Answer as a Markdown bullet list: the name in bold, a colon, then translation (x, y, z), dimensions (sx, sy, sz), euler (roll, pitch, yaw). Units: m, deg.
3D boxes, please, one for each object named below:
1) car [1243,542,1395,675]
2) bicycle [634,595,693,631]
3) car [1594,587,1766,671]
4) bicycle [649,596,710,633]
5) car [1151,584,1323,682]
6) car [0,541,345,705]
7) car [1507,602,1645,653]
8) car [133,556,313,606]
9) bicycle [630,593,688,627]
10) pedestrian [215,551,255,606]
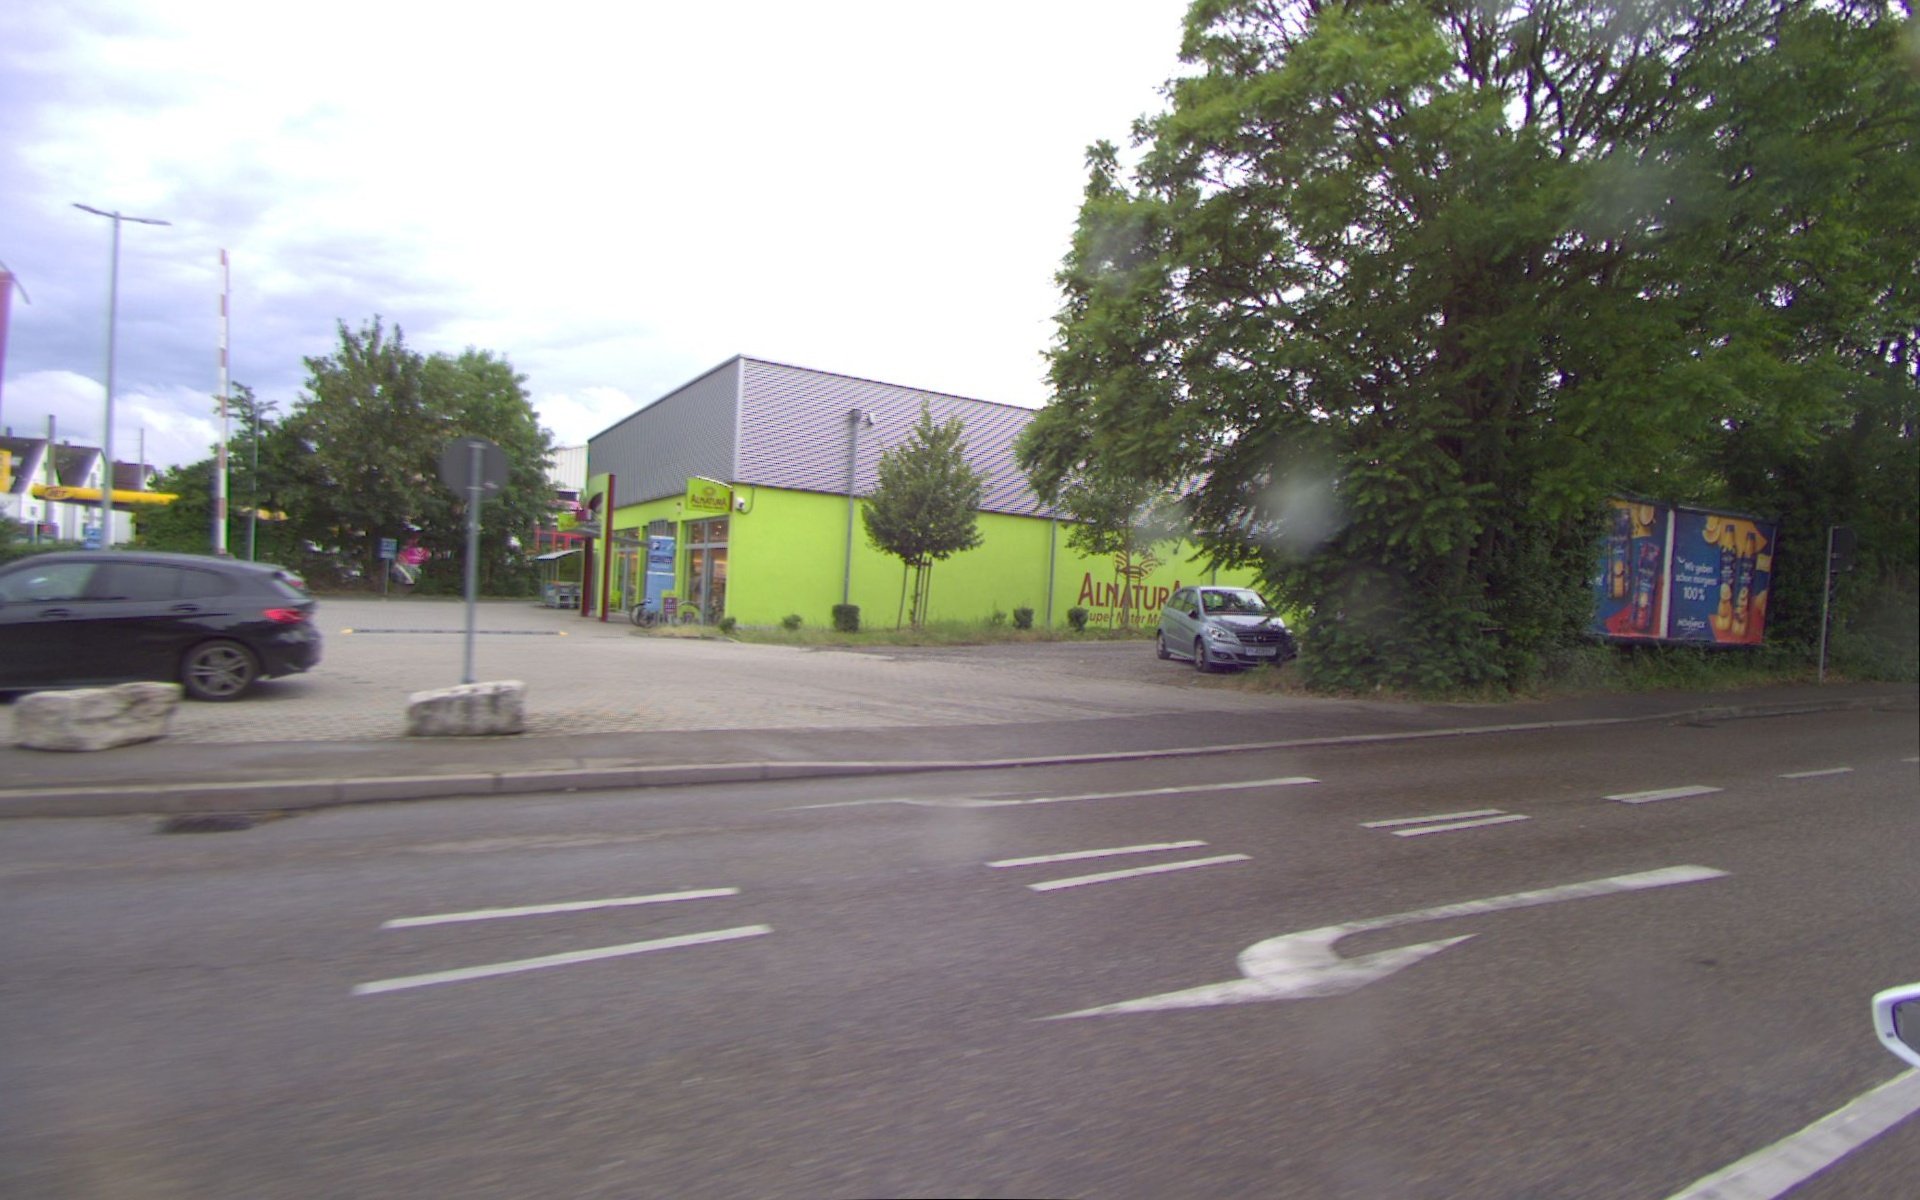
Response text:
- **car**: translation (8.226, 0.106, 22.636), dimensions (2.076, 2.567, 5.593), euler (3, 2, 31)
- **bicycle**: translation (-8.925, 0.394, 30.243), dimensions (1.596, 0.995, 0.529), euler (2, 0, -30)
- **car**: translation (19.586, 0.712, 27.591), dimensions (1.960, 1.963, 4.001), euler (2, 2, 4)
- **bicycle**: translation (-8.124, 0.424, 29.077), dimensions (1.596, 0.995, 0.529), euler (2, 0, -30)
- **car**: translation (5.248, 0.549, 19.671), dimensions (1.962, 1.563, 4.123), euler (2, 2, -3)
- **car**: translation (-8.753, 0.199, 10.170), dimensions (4.184, 1.468, 1.739), euler (2, 2, -29)
- **car**: translation (20.595, 0.902, 33.654), dimensions (3.688, 1.531, 1.767), euler (2, 1, -11)
- **car**: translation (-23.081, -0.586, 31.692), dimensions (4.326, 1.363, 1.761), euler (2, 1, -29)
- **bicycle**: translation (-9.290, 0.313, 30.995), dimensions (1.596, 0.995, 0.529), euler (2, 0, -30)
- **pedestrian**: translation (-21.958, -0.652, 30.427), dimensions (0.792, 1.618, 0.755), euler (1, 2, -21)
